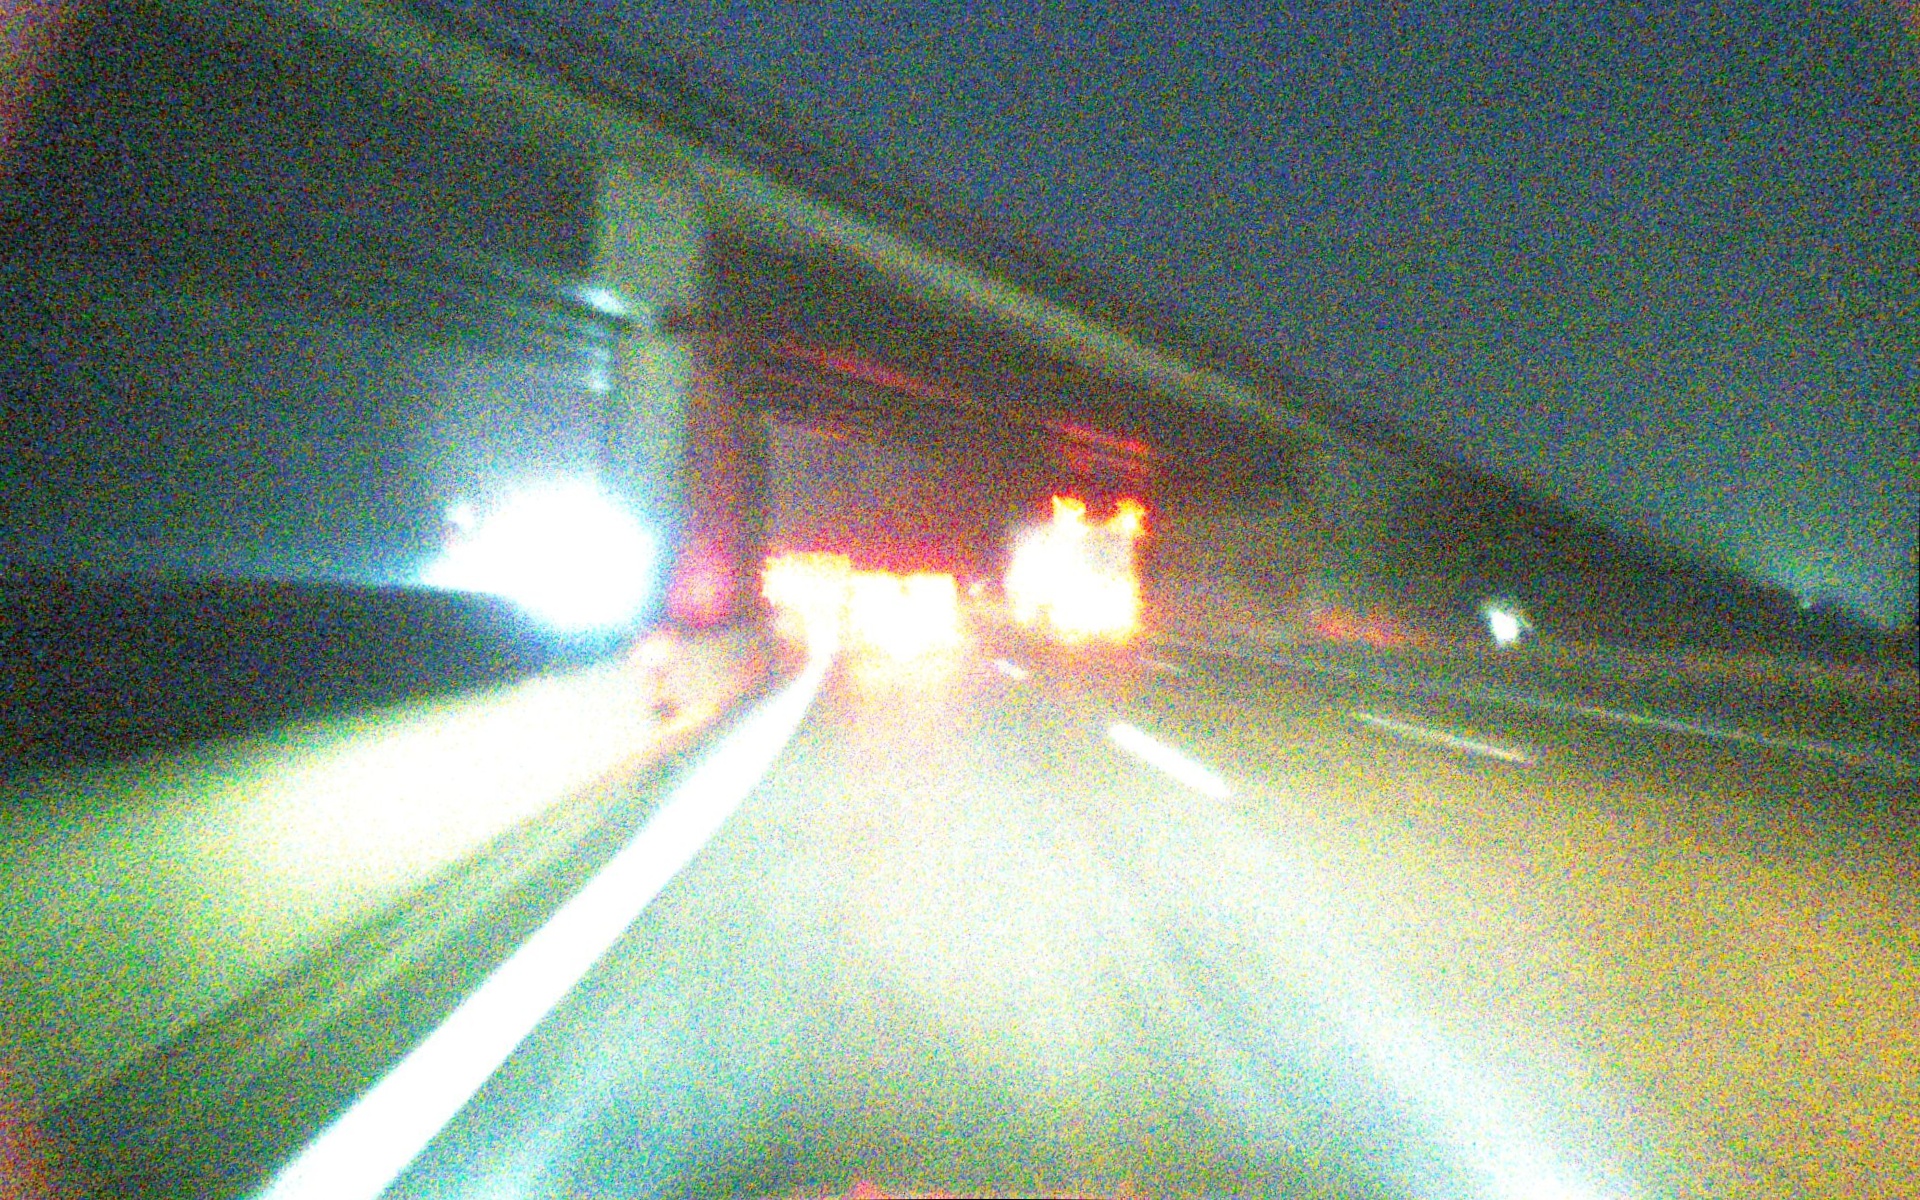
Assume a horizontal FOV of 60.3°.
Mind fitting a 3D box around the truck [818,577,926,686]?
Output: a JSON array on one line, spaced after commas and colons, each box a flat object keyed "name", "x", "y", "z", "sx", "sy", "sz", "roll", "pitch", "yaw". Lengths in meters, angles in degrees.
[{"name": "truck", "x": -1.999, "y": 0.649, "z": 39.579, "sx": 2.102, "sy": 2.112, "sz": 6.604, "roll": 5, "pitch": 1, "yaw": 0}]

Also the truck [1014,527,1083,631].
[{"name": "truck", "x": 3.852, "y": -0.932, "z": 72.845, "sx": 2.655, "sy": 4.315, "sz": 5.293, "roll": 2, "pitch": 1, "yaw": 0}]

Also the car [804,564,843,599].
[{"name": "car", "x": -8.241, "y": -1.071, "z": 99.732, "sx": 1.957, "sy": 2.049, "sz": 3.990, "roll": 0, "pitch": 0, "yaw": -10}]

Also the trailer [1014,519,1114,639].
[{"name": "trailer", "x": 3.990, "y": -0.931, "z": 66.749, "sx": 2.684, "sy": 4.322, "sz": 13.367, "roll": -1, "pitch": 1, "yaw": -2}]
